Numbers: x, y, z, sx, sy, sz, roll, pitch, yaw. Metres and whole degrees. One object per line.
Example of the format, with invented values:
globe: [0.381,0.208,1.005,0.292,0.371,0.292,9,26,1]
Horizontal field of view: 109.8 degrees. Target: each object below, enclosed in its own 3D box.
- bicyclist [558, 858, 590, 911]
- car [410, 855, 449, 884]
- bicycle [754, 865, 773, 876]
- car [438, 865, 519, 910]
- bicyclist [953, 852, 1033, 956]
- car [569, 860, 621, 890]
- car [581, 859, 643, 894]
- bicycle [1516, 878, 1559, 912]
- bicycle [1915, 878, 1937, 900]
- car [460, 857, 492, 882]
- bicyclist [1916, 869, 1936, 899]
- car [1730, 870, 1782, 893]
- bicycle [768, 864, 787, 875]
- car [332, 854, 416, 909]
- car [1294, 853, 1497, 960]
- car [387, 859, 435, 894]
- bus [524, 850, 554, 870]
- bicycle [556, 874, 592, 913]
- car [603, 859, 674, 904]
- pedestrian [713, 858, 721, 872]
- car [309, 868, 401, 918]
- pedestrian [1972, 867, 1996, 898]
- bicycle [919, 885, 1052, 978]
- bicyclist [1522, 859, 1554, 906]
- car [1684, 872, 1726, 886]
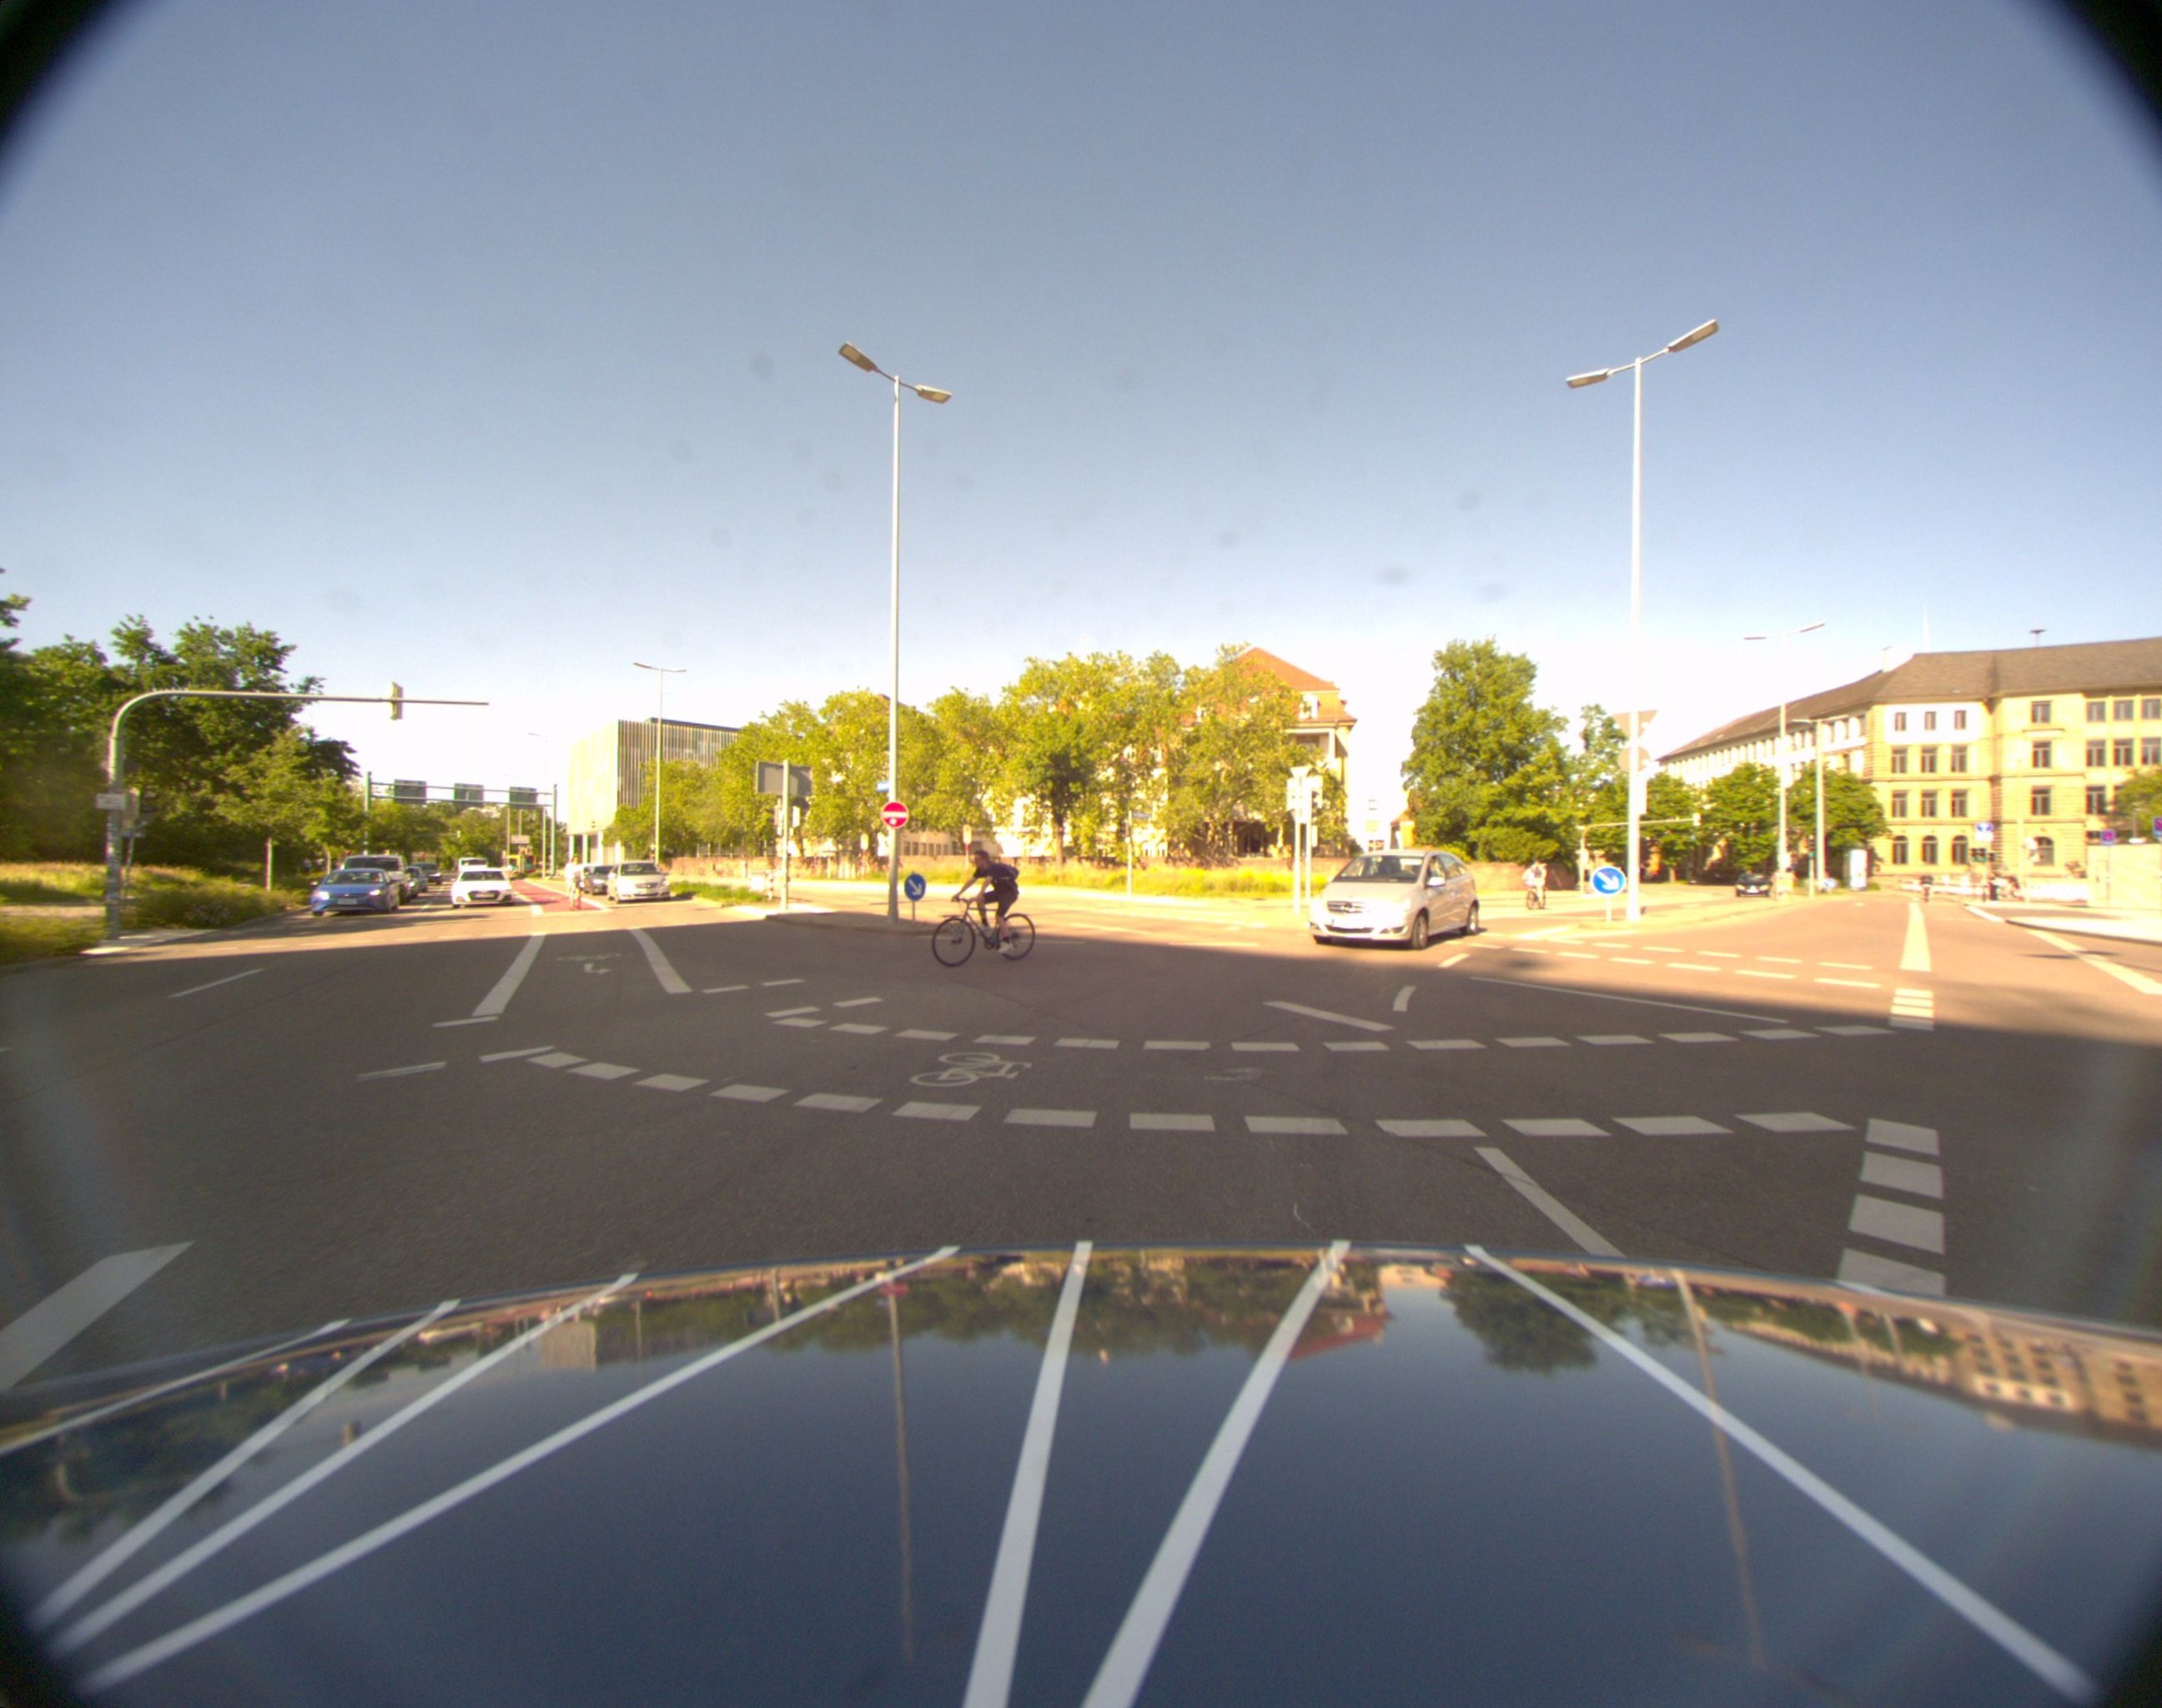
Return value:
bicyclist: [-16.544,0.987,24.796,0.748,1.675,0.975,1,1,-40]
car: [-46.589,1.114,54.290,1.943,1.941,4.744,-1,0,-42]
bicycle: [-34.357,1.766,82.186,2.080,1.069,0.798,-3,-2,33]
car: [-22.167,1.175,28.105,2.004,1.460,3.990,0,0,-34]
bicyclist: [-1.293,0.700,11.153,0.955,1.436,0.641,-1,0,-42]
car: [-27.368,1.162,42.703,1.988,1.545,4.711,-1,0,-38]
car: [-22.759,1.064,36.778,1.988,1.545,4.711,-1,0,-38]
bicycle: [16.271,1.424,27.072,1.972,1.158,0.777,1,-2,-42]
bicycle: [47.043,1.919,42.307,1.874,1.158,0.746,1,1,-42]
car: [-50.017,1.243,62.757,1.943,1.941,4.519,-1,0,-39]
bicyclist: [47.111,1.674,42.364,0.980,1.612,0.720,1,1,-42]
car: [45.757,1.840,51.584,1.995,1.464,4.308,-3,-3,33]
bicycle: [-32.362,1.675,80.967,2.080,1.069,0.798,-3,-2,33]
car: [-27.295,1.000,29.479,1.943,1.941,4.744,-1,0,-38]
car: [5.741,0.829,13.549,1.767,1.584,4.649,-1,-2,44]
car: [-36.887,1.196,41.926,1.850,1.818,4.378,-1,0,-40]
bus: [-92.651,1.069,129.924,6.239,3.252,2.995,-3,-3,42]
bicycle: [-16.610,1.259,24.874,0.750,1.158,1.865,1,1,-40]
car: [-17.306,1.015,29.638,1.793,1.615,4.304,-1,0,-38]
pedestrian: [-40.796,1.261,85.039,0.654,1.601,0.557,1,-2,-44]
car: [-23.060,1.177,24.268,1.708,1.433,3.989,-1,0,-38]
pedestrian: [49.617,1.574,41.758,0.649,1.670,0.788,0,-2,-41]
bicycle: [-1.360,1.080,11.089,1.874,1.158,0.641,-1,0,-43]
bicyclist: [16.327,1.017,27.131,0.778,1.653,0.783,0,-1,-42]
car: [81.065,3.198,98.684,3.798,1.805,2.000,0,-1,1]
